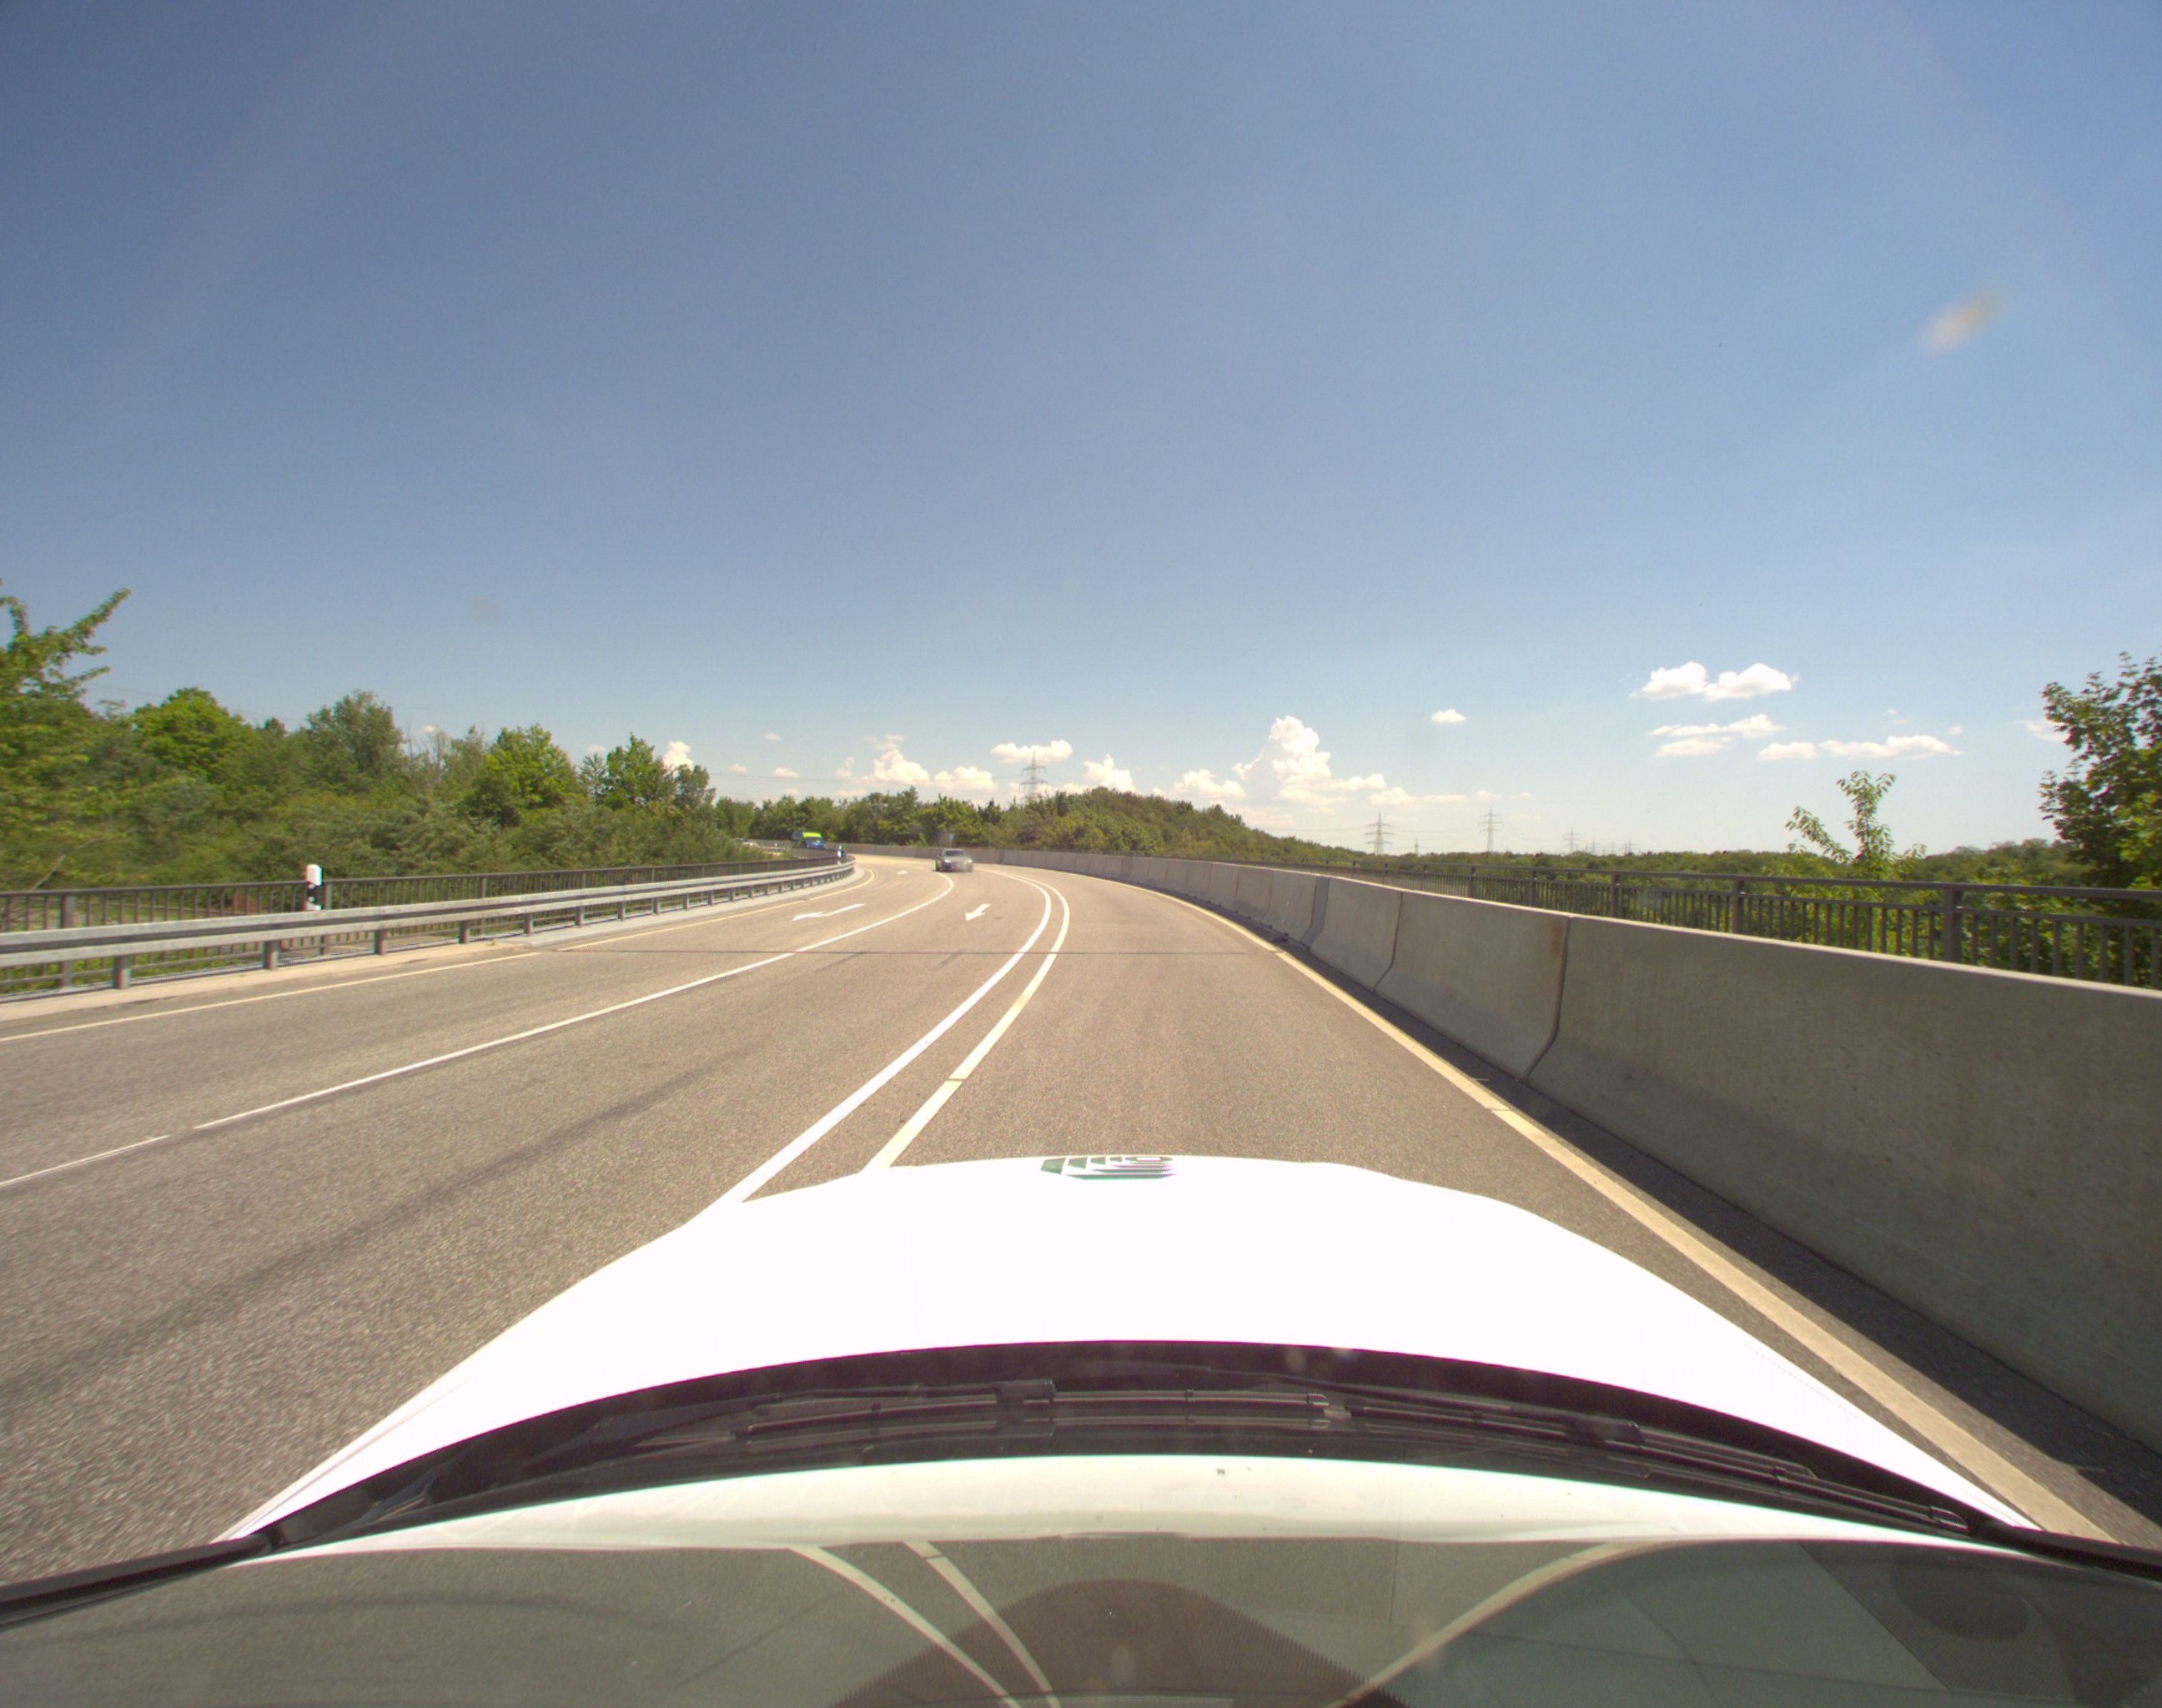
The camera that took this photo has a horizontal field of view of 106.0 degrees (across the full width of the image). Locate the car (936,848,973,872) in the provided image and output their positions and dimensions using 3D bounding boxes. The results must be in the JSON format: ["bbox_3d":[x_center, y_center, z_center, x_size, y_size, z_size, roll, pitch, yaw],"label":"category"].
[{"bbox_3d":[-7.861,0.362,50.276,1.782,1.384,4.259,0,0,-16],"label":"car"}]

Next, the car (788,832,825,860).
[{"bbox_3d":[-27.694,-0.843,82.076,2.008,2.483,5.425,-7,6,-33],"label":"car"}]
